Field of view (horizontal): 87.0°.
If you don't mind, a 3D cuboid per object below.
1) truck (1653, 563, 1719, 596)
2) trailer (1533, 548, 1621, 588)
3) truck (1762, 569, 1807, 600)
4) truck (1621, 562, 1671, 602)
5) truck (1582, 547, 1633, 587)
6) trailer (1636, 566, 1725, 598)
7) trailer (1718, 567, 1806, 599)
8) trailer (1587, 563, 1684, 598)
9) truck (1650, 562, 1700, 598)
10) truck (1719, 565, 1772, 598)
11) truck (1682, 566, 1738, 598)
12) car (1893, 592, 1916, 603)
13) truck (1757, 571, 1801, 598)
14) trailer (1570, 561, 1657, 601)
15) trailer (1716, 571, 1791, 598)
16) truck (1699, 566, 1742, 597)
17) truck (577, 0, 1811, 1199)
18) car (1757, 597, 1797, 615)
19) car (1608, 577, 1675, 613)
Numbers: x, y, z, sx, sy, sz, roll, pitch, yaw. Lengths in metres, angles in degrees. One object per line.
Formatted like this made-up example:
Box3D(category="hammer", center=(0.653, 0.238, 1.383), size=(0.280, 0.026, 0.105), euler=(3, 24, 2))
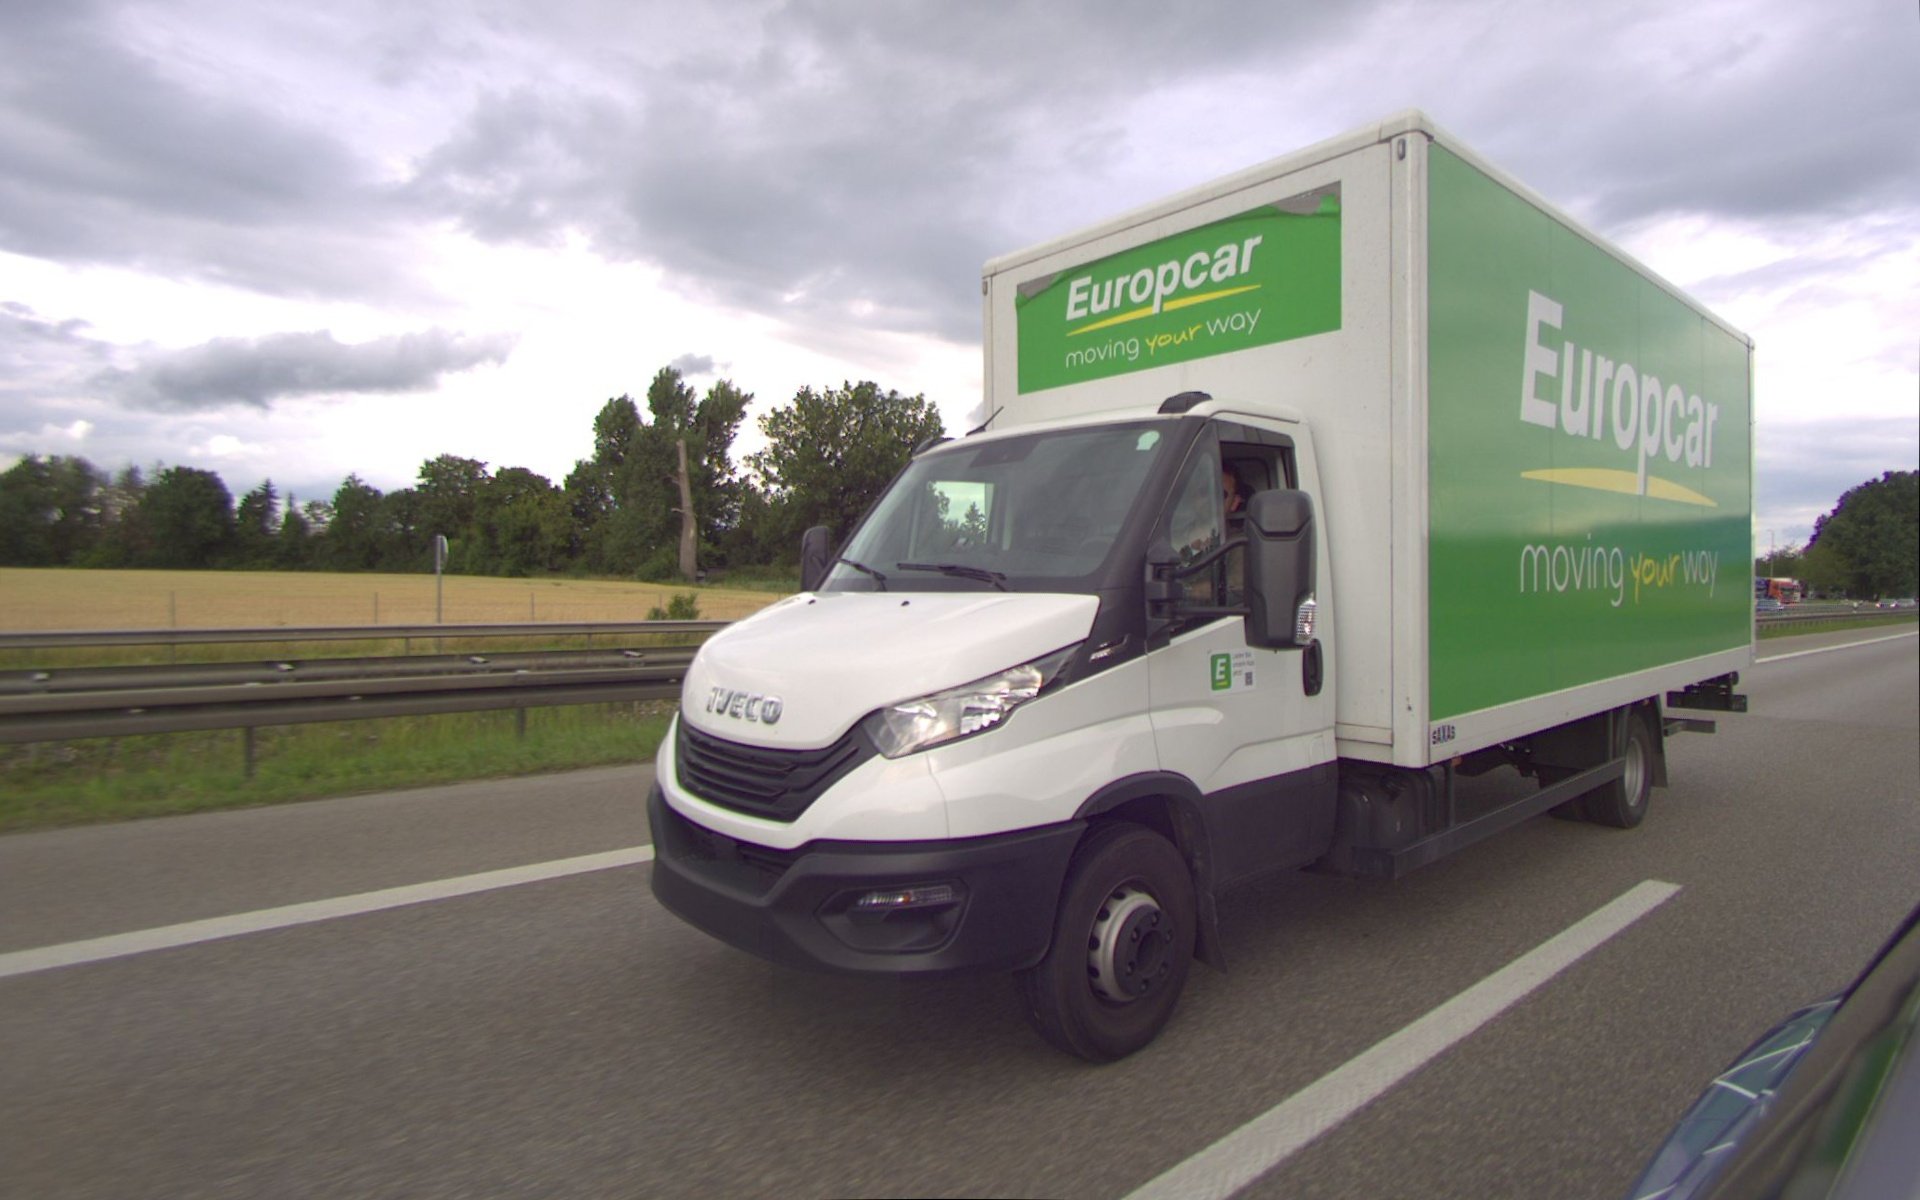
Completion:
Box3D(category="truck", center=(93.782, -2.606, 130.919), size=(3.486, 4.136, 7.642), euler=(-1, 0, 6))
Box3D(category="trailer", center=(70.006, -3.491, 115.303), size=(2.567, 4.126, 13.529), euler=(-1, 0, 4))
Box3D(category="truck", center=(126.928, -2.401, 155.890), size=(2.827, 4.683, 5.165), euler=(-1, 0, 5))
Box3D(category="truck", center=(77.473, -2.019, 114.414), size=(2.467, 4.382, 4.899), euler=(-1, 0, 4))
Box3D(category="truck", center=(69.643, -3.484, 108.929), size=(2.566, 4.187, 4.531), euler=(-1, 0, 2))
Box3D(category="trailer", center=(100.944, -2.383, 142.264), size=(2.805, 4.157, 15.861), euler=(-1, 0, 7))
Box3D(category="trailer", center=(127.453, -2.636, 161.326), size=(2.814, 4.737, 15.786), euler=(-1, 0, 5))
Box3D(category="trailer", center=(85.116, -2.363, 128.015), size=(2.609, 4.136, 14.690), euler=(-1, 0, 1))
Box3D(category="truck", center=(84.906, -2.366, 120.293), size=(2.593, 4.184, 4.791), euler=(-1, 0, 3))
Box3D(category="truck", center=(112.098, -2.613, 144.586), size=(3.113, 4.615, 6.076), euler=(-1, 0, 6))
Box3D(category="truck", center=(100.136, -2.346, 135.238), size=(2.836, 4.187, 6.959), euler=(-1, 0, 7))
Box3D(category="car", center=(107.226, -0.302, 114.881), size=(3.930, 1.230, 1.464), euler=(0, 1, -41))
Box3D(category="truck", center=(131.006, -2.506, 162.021), size=(2.623, 4.201, 5.920), euler=(-1, 0, 6))
Box3D(category="trailer", center=(78.077, -2.136, 121.391), size=(2.434, 4.451, 14.122), euler=(-1, 0, 5))
Box3D(category="trailer", center=(131.618, -2.508, 168.212), size=(2.617, 4.165, 14.047), euler=(-1, 0, 5))
Box3D(category="truck", center=(103.884, -2.546, 138.341), size=(2.651, 4.107, 4.787), euler=(-1, 0, 8))
Box3D(category="truck", center=(2.580, -0.389, 6.279), size=(8.903, 3.549, 2.775), euler=(0, 0, -41))
Box3D(category="car", center=(61.154, 0.424, 75.750), size=(3.484, 1.274, 1.795), euler=(-1, 0, -41))
Box3D(category="car", center=(36.076, -0.281, 53.543), size=(4.514, 1.779, 1.831), euler=(0, 1, -41))
